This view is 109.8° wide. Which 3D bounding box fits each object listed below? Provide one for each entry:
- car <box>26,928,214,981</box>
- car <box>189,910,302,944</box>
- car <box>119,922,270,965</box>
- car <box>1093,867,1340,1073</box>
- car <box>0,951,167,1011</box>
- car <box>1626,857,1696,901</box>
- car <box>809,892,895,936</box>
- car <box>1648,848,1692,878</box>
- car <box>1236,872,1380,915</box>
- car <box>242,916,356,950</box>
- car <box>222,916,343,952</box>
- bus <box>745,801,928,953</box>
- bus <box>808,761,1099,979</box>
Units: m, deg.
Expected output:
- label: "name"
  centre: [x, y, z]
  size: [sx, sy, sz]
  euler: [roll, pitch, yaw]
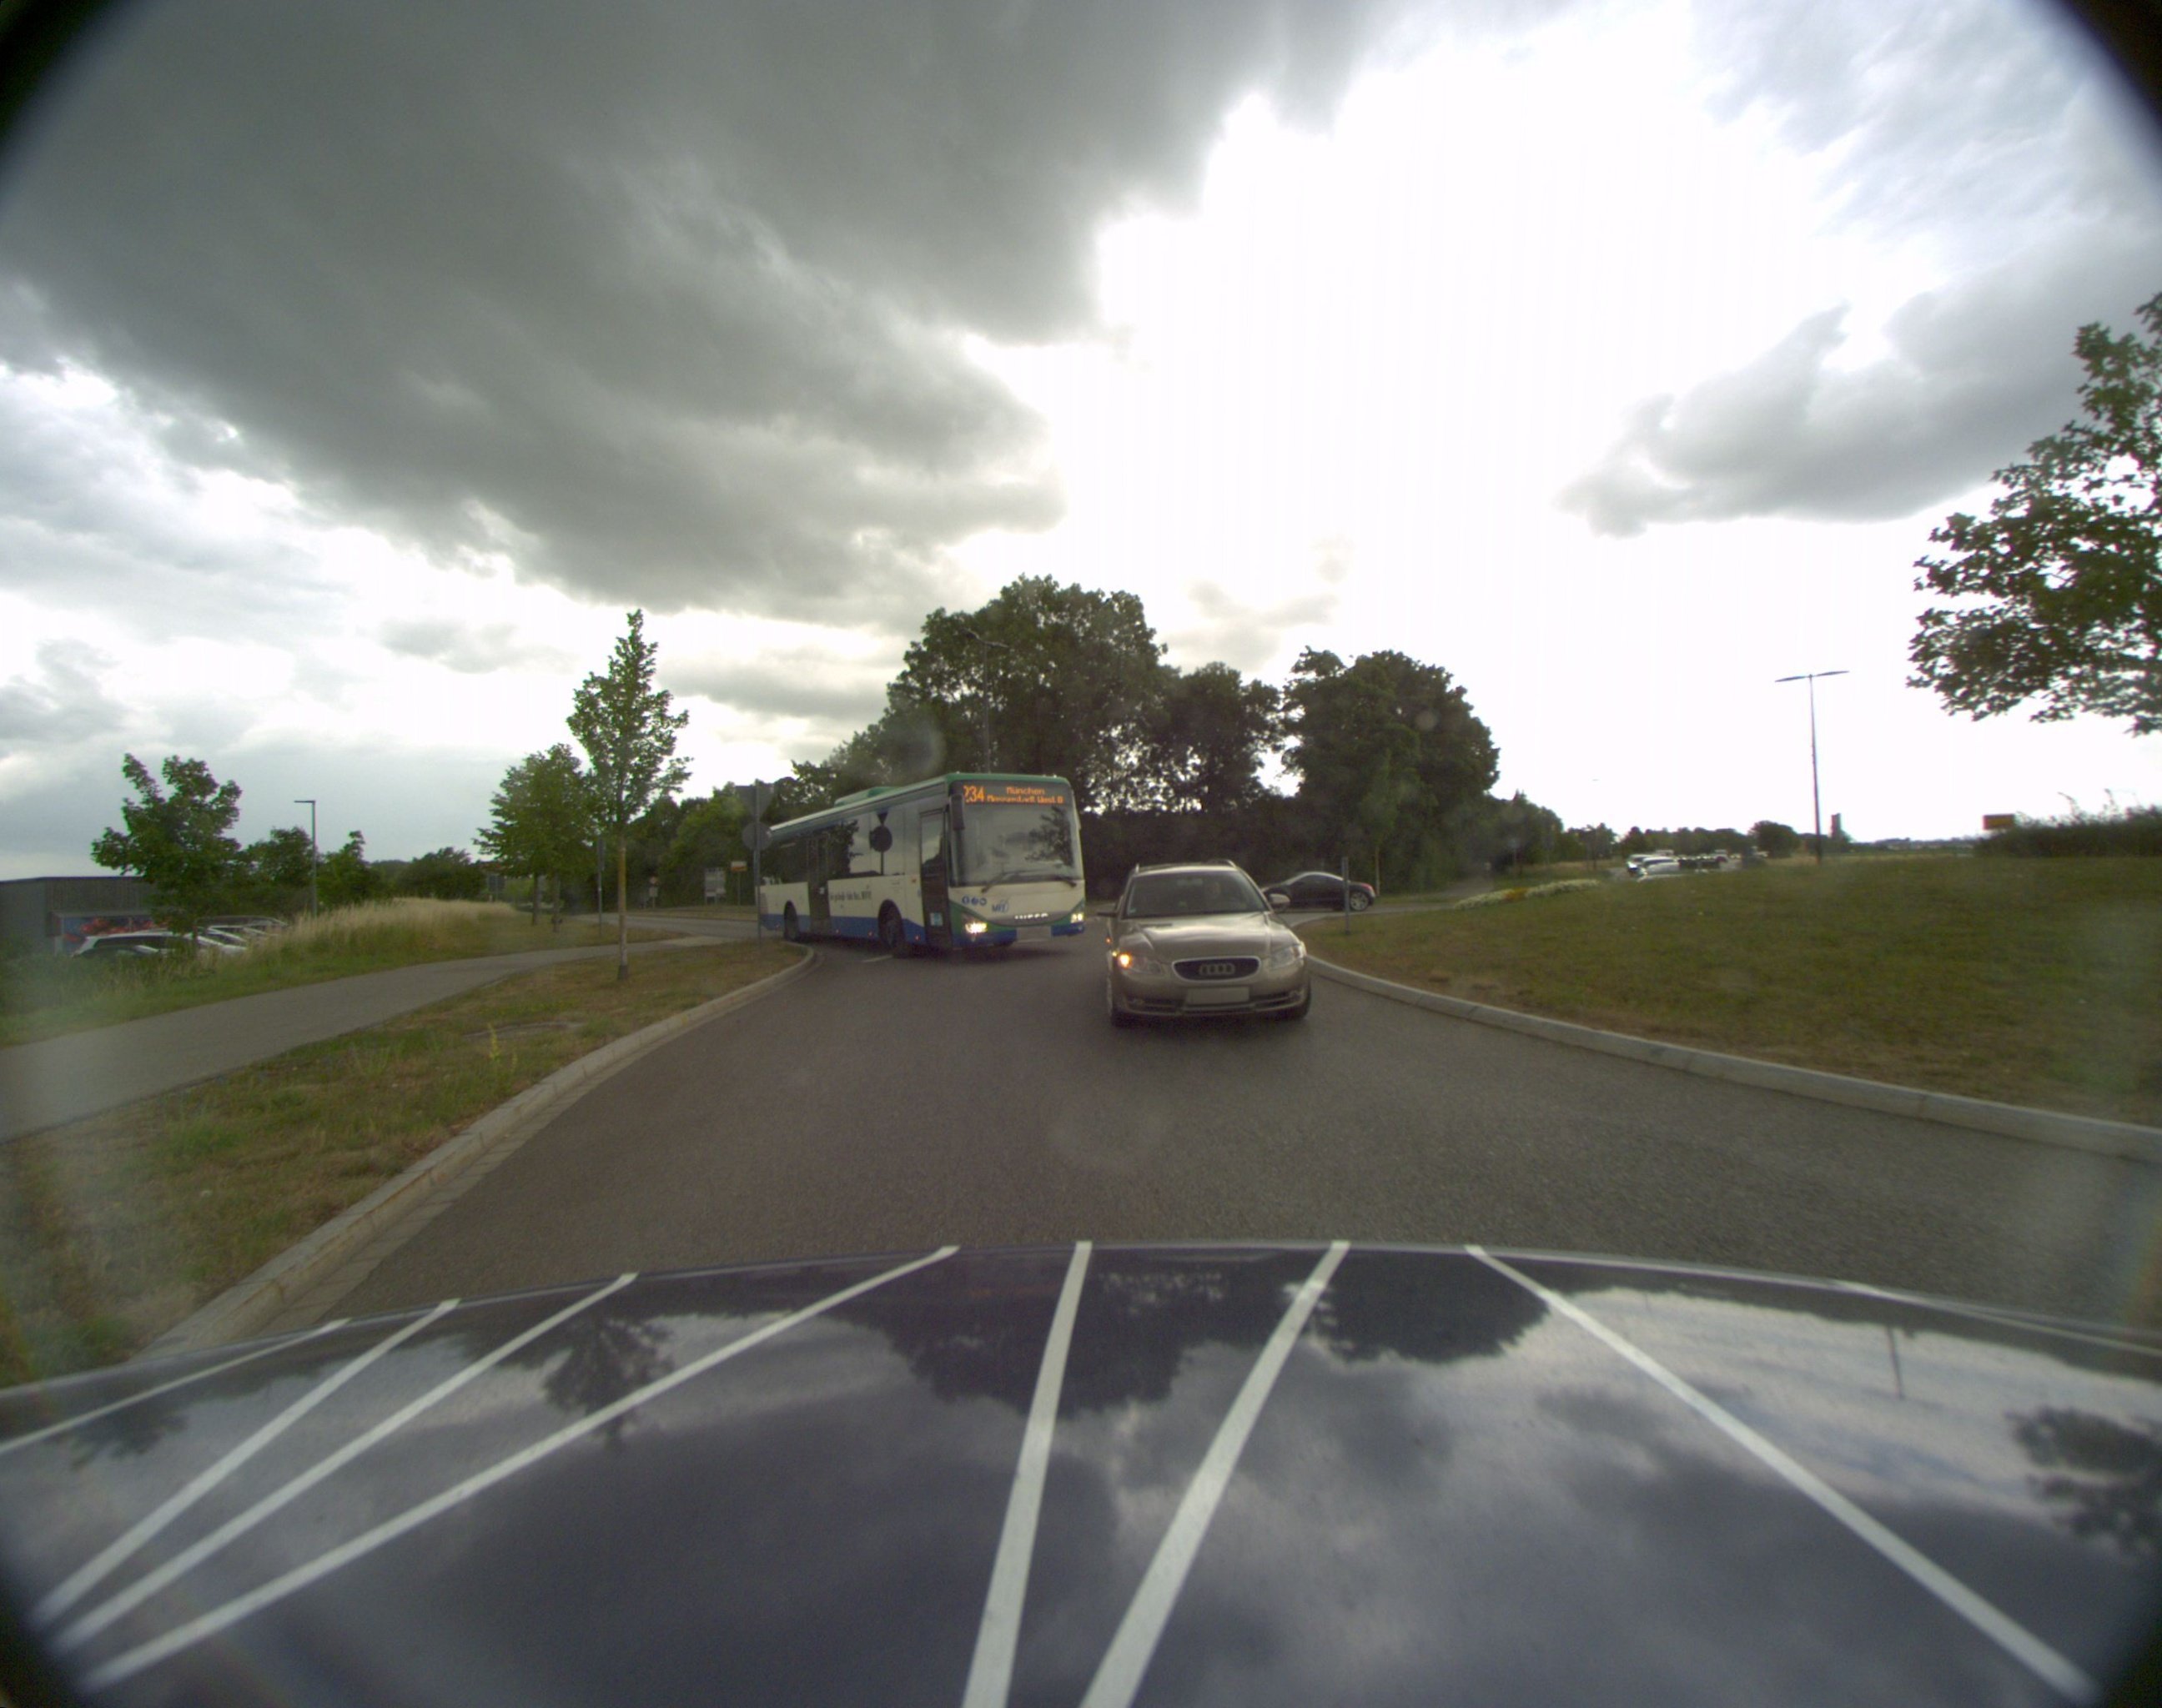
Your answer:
- label: "car"
  centre: [-35.075, 3.630, 27.901]
  size: [3.895, 1.455, 1.694]
  euler: [-1, -1, -30]
- label: "car"
  centre: [-45.203, 3.923, 41.242]
  size: [4.008, 1.435, 1.879]
  euler: [-1, -1, -45]
- label: "car"
  centre: [-38.468, 3.853, 33.114]
  size: [3.895, 1.455, 1.694]
  euler: [-1, -1, -30]
- label: "car"
  centre: [1.066, 0.927, 8.067]
  size: [1.782, 1.456, 4.541]
  euler: [-3, -1, 0]
- label: "car"
  centre: [-32.377, 4.043, 24.145]
  size: [3.895, 1.455, 1.694]
  euler: [-1, -1, -30]
- label: "car"
  centre: [22.066, 0.901, 28.830]
  size: [1.836, 1.449, 4.144]
  euler: [-2, 0, 41]
- label: "car"
  centre: [-8.900, 2.267, 29.368]
  size: [3.572, 1.496, 1.647]
  euler: [-3, -1, 45]
- label: "car"
  centre: [31.901, 0.459, 41.130]
  size: [1.777, 1.489, 3.818]
  euler: [-3, -1, 39]
- label: "car"
  centre: [7.327, 1.267, 24.772]
  size: [4.113, 1.299, 1.831]
  euler: [-1, -2, -4]
- label: "car"
  centre: [-41.422, 4.171, 40.360]
  size: [3.895, 1.455, 1.694]
  euler: [-1, -1, -30]
- label: "car"
  centre: [-40.681, 4.038, 38.836]
  size: [3.895, 1.455, 1.694]
  euler: [-1, -1, -30]
- label: "bus"
  centre: [-6.395, 0.515, 19.346]
  size: [2.529, 3.240, 5.447]
  euler: [-5, 2, -37]
- label: "bus"
  centre: [-2.791, 0.236, 14.593]
  size: [2.529, 3.240, 6.532]
  euler: [-5, 2, -37]
